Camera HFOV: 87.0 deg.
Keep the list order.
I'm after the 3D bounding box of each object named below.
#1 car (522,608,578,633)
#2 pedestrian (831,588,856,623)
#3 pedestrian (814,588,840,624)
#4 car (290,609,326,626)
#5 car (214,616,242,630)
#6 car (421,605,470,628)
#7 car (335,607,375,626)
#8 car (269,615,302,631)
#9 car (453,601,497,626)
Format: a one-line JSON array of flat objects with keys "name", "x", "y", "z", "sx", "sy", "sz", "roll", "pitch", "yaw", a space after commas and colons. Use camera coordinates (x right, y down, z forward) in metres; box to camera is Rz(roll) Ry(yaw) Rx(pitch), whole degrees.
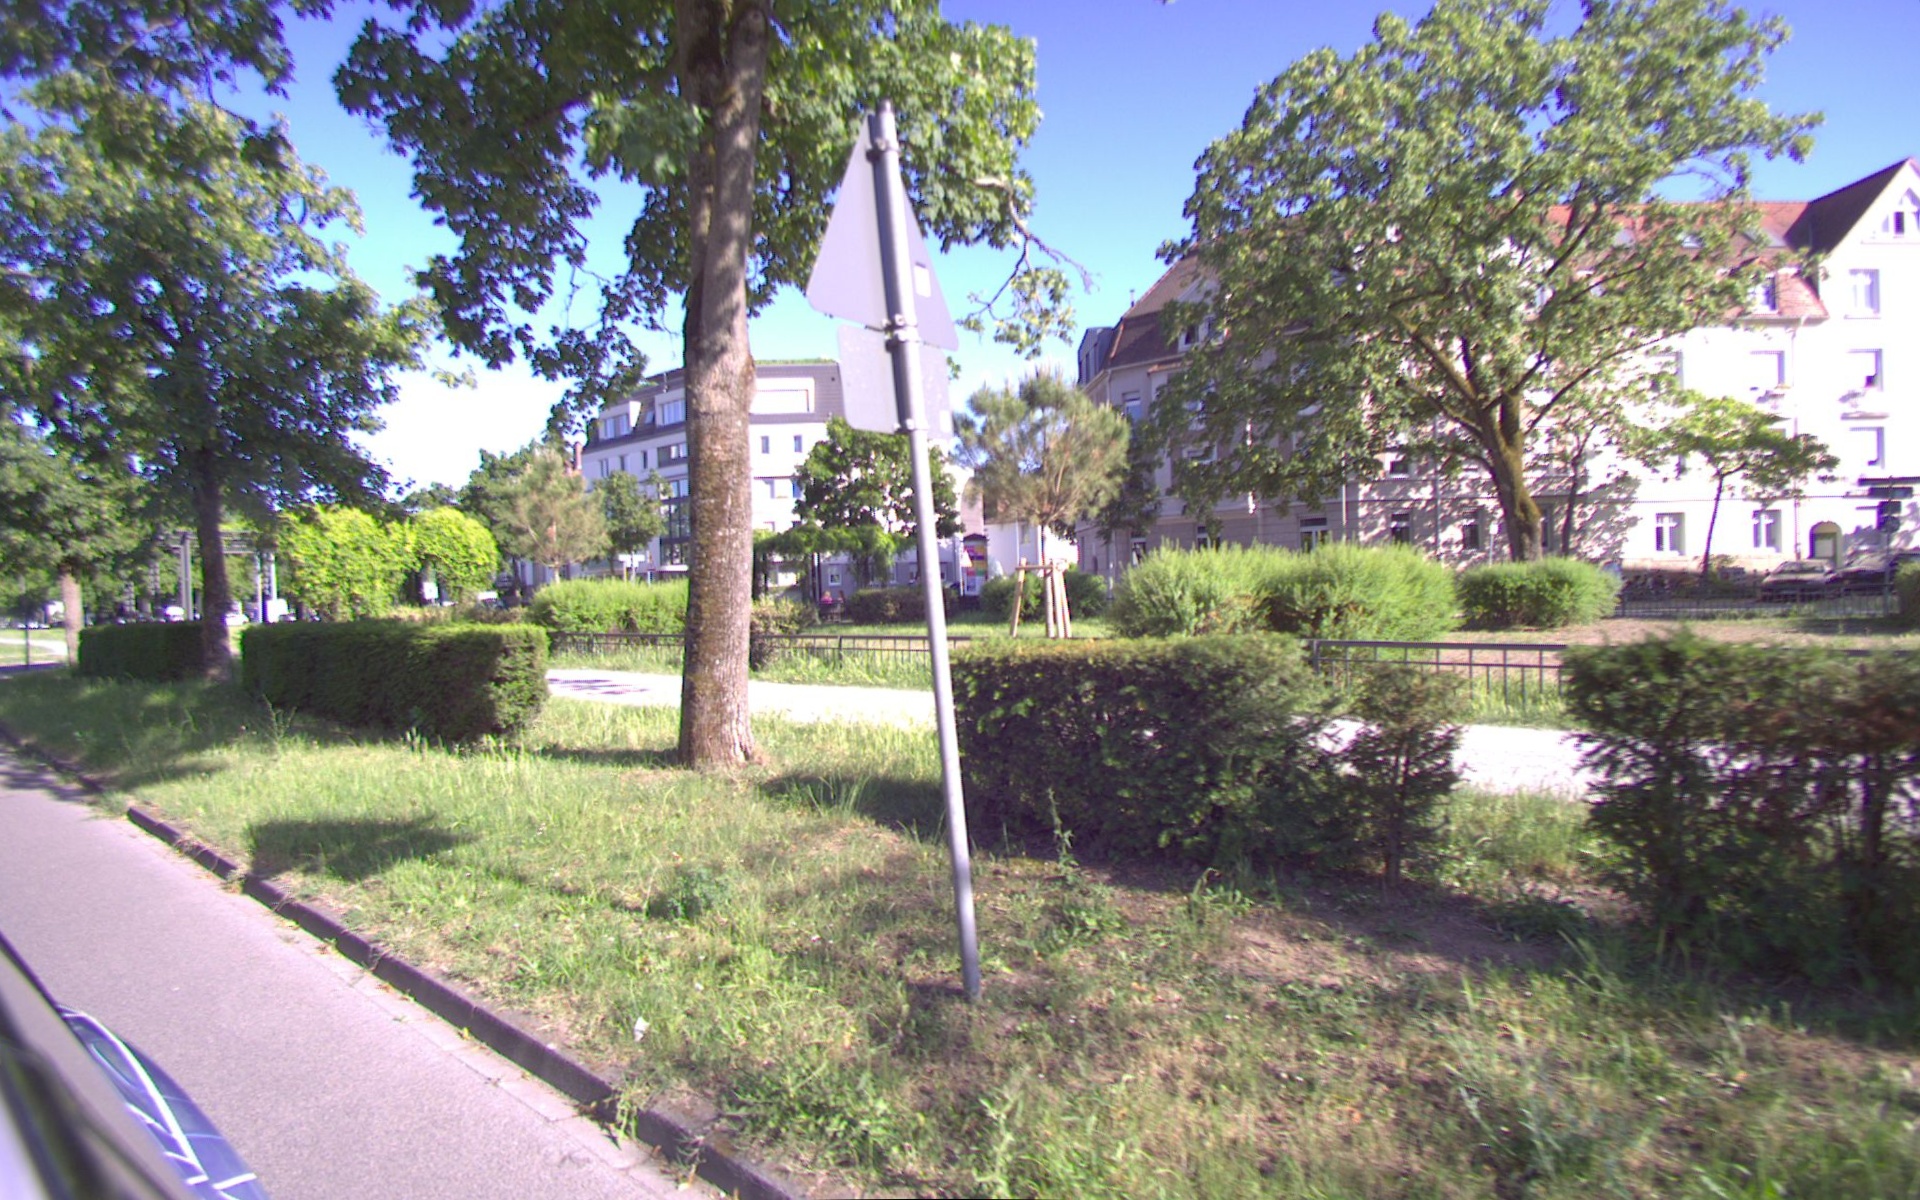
[{"name": "car", "x": -27.118, "y": 1.360, "z": 66.905, "sx": 3.997, "sy": 1.522, "sz": 1.776, "roll": -1, "pitch": 0, "yaw": 41}, {"name": "pedestrian", "x": -4.295, "y": 0.188, "z": 37.315, "sx": 0.640, "sy": 1.247, "sz": 0.651, "roll": -3, "pitch": 1, "yaw": -43}, {"name": "pedestrian", "x": -4.829, "y": 0.221, "z": 36.800, "sx": 0.640, "sy": 1.247, "sz": 0.651, "roll": -3, "pitch": 1, "yaw": -43}, {"name": "car", "x": -62.774, "y": 1.700, "z": 97.419, "sx": 3.997, "sy": 1.522, "sz": 1.776, "roll": -1, "pitch": 0, "yaw": 41}, {"name": "car", "x": -84.667, "y": 2.694, "z": 117.020, "sx": 3.997, "sy": 1.522, "sz": 1.776, "roll": -1, "pitch": 0, "yaw": 41}, {"name": "car", "x": -39.998, "y": 1.256, "z": 78.655, "sx": 4.406, "sy": 1.706, "sz": 2.030, "roll": -1, "pitch": 0, "yaw": 43}, {"name": "car", "x": -54.053, "y": 1.509, "z": 90.379, "sx": 4.403, "sy": 1.625, "sz": 1.776, "roll": -1, "pitch": 0, "yaw": 41}, {"name": "car", "x": -68.414, "y": 2.308, "z": 102.677, "sx": 3.997, "sy": 1.522, "sz": 1.776, "roll": -1, "pitch": 0, "yaw": 41}, {"name": "car", "x": -41.900, "y": 1.171, "z": 87.309, "sx": 4.405, "sy": 2.044, "sz": 1.915, "roll": -1, "pitch": 0, "yaw": 43}]
